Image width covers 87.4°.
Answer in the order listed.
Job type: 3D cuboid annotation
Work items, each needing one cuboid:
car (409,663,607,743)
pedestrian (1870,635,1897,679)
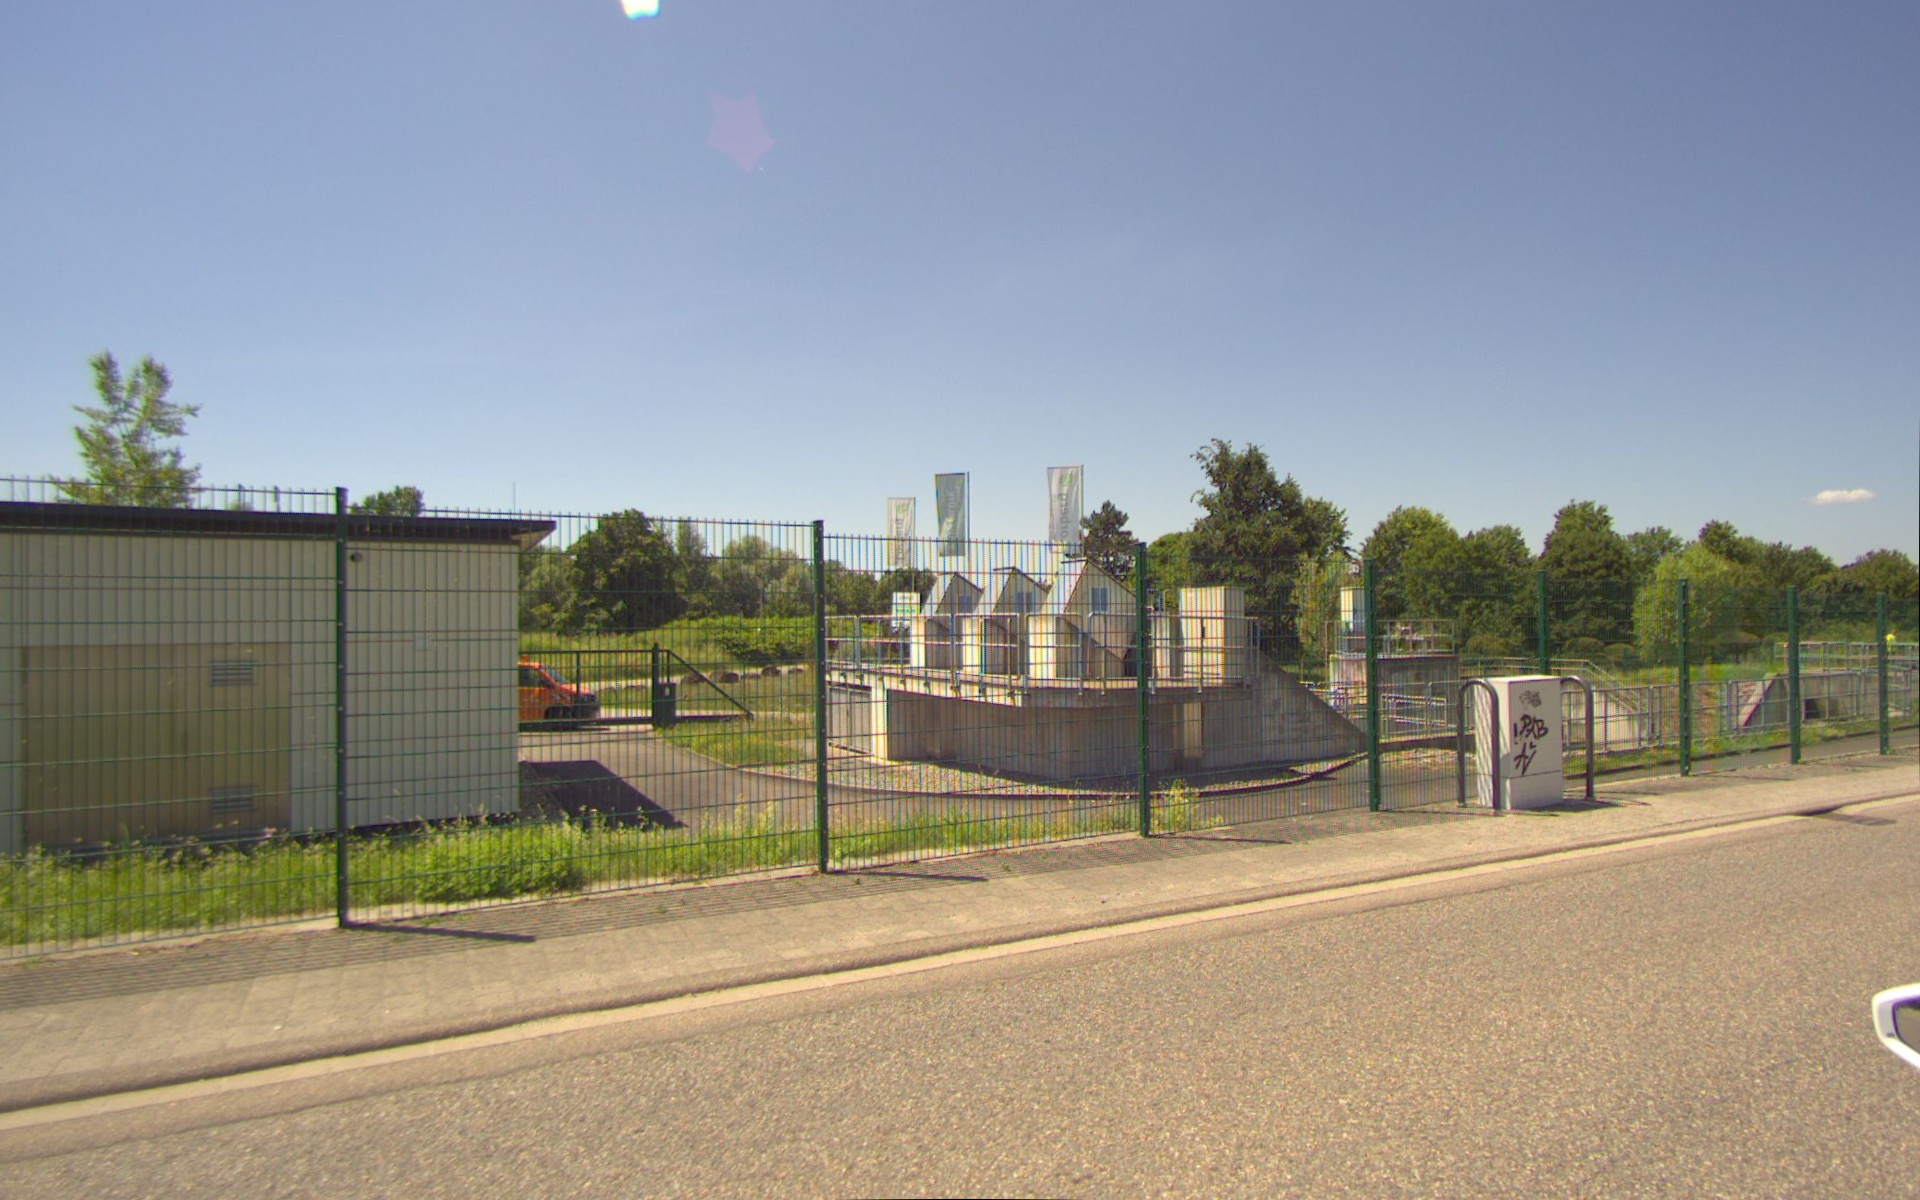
[{"bbox_3d":[-12.708,2.884,28.574,4.776,2.039,1.997,-1,-4,-11],"label":"car"},{"bbox_3d":[39.720,2.444,43.203,0.795,1.863,0.603,0,-2,-30],"label":"pedestrian"}]
